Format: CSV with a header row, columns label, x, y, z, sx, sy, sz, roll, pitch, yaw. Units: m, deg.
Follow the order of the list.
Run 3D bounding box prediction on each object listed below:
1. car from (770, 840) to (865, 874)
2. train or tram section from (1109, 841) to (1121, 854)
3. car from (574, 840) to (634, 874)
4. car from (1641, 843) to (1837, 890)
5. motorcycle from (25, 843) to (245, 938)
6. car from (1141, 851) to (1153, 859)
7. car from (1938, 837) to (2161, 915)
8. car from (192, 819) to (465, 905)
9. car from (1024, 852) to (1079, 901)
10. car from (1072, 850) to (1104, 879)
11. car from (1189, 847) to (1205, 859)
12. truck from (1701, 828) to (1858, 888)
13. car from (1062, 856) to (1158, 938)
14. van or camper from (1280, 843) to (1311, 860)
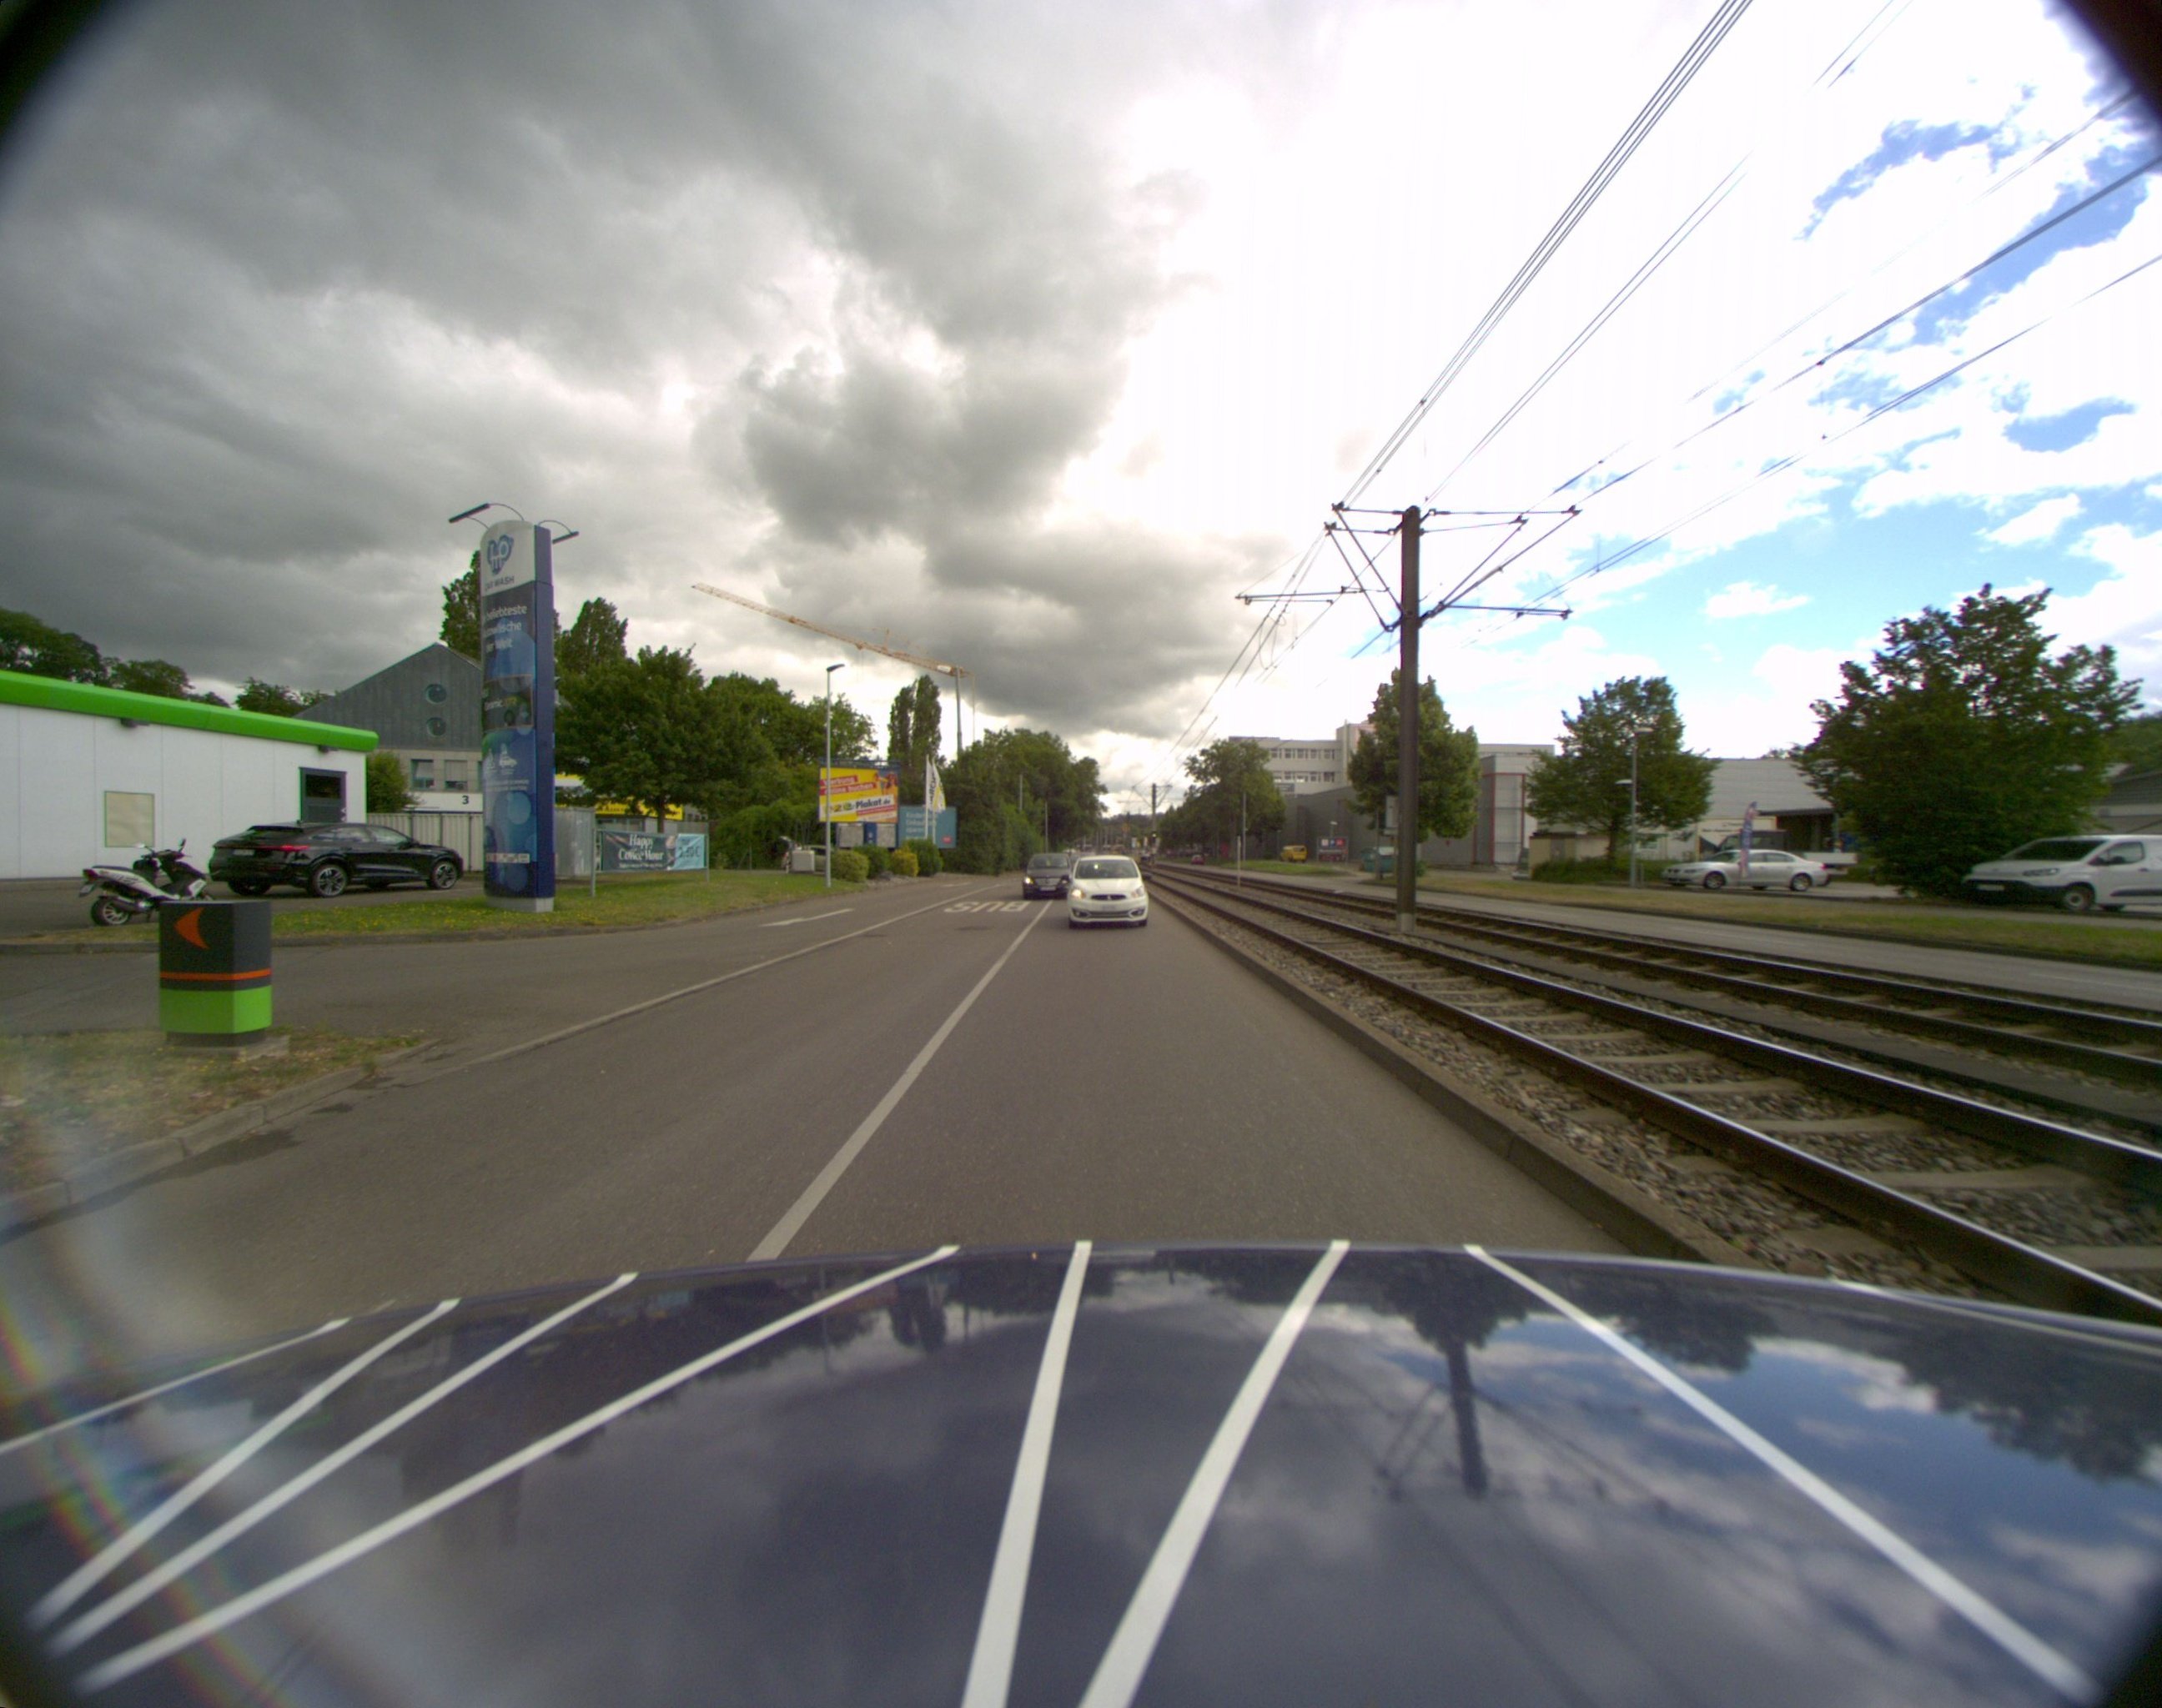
label,x,y,z,sx,sy,sz,roll,pitch,yaw
car,-13.392,0.163,38.899,4.029,1.646,2.944,0,0,-6
train or tram section,10.117,-1.898,229.938,2.778,3.753,13.784,0,0,-1
car,-23.849,0.120,38.121,1.633,1.630,3.525,0,1,-16
car,23.752,0.430,27.619,4.793,1.619,2.652,0,0,2
motorcycle,-14.350,0.507,11.642,0.857,1.323,1.990,0,1,1
car,12.360,0.226,142.089,1.763,1.393,4.443,2,0,0
car,23.350,0.488,17.834,4.231,1.717,1.995,0,0,-1
car,-16.883,0.127,17.432,1.824,1.665,4.337,2,1,3
car,-0.956,0.730,26.791,1.714,1.586,4.000,0,0,1
car,0.406,0.551,42.845,1.693,1.521,4.000,-2,1,1
car,17.144,-0.120,112.424,1.797,1.761,3.999,0,0,-1
truck,30.084,0.152,33.016,1.998,2.369,5.264,1,0,1
car,0.553,0.813,16.209,1.764,1.469,4.030,-2,0,0
van or camper,25.496,-0.322,90.510,2.109,2.002,5.241,0,0,-2
